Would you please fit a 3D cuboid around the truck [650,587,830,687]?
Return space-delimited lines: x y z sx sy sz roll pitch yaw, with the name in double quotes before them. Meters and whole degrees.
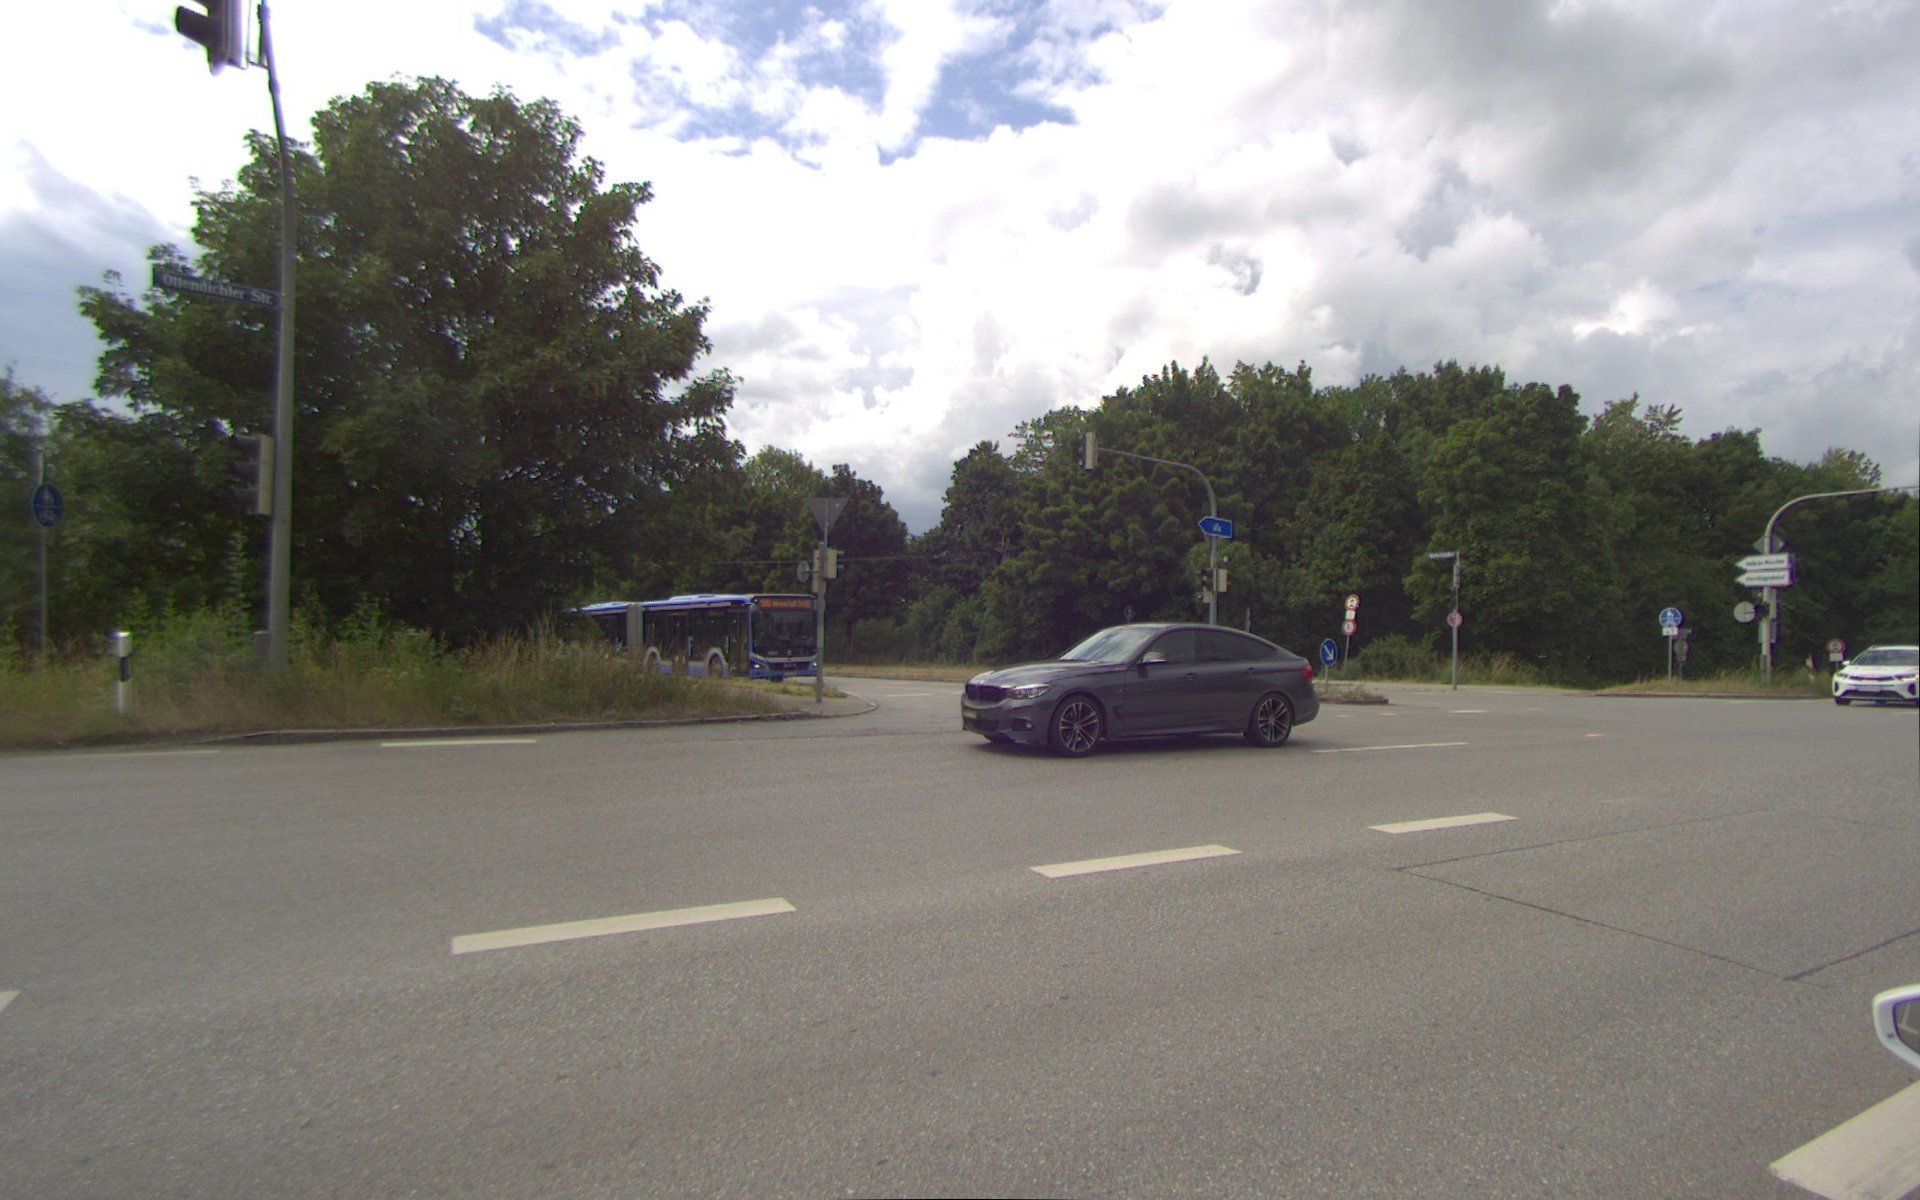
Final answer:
"truck" -7.817 1.228 34.879 2.863 3.077 7.851 1 -2 -40

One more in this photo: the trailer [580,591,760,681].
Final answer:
"trailer" -11.743 1.346 39.678 2.863 3.077 10.632 1 -2 -39

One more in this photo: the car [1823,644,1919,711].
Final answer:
"car" 23.612 1.882 25.189 4.296 1.524 1.721 2 -2 -31

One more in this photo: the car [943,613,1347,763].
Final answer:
"car" 2.347 1.009 12.334 4.842 1.550 1.781 2 -2 -28
